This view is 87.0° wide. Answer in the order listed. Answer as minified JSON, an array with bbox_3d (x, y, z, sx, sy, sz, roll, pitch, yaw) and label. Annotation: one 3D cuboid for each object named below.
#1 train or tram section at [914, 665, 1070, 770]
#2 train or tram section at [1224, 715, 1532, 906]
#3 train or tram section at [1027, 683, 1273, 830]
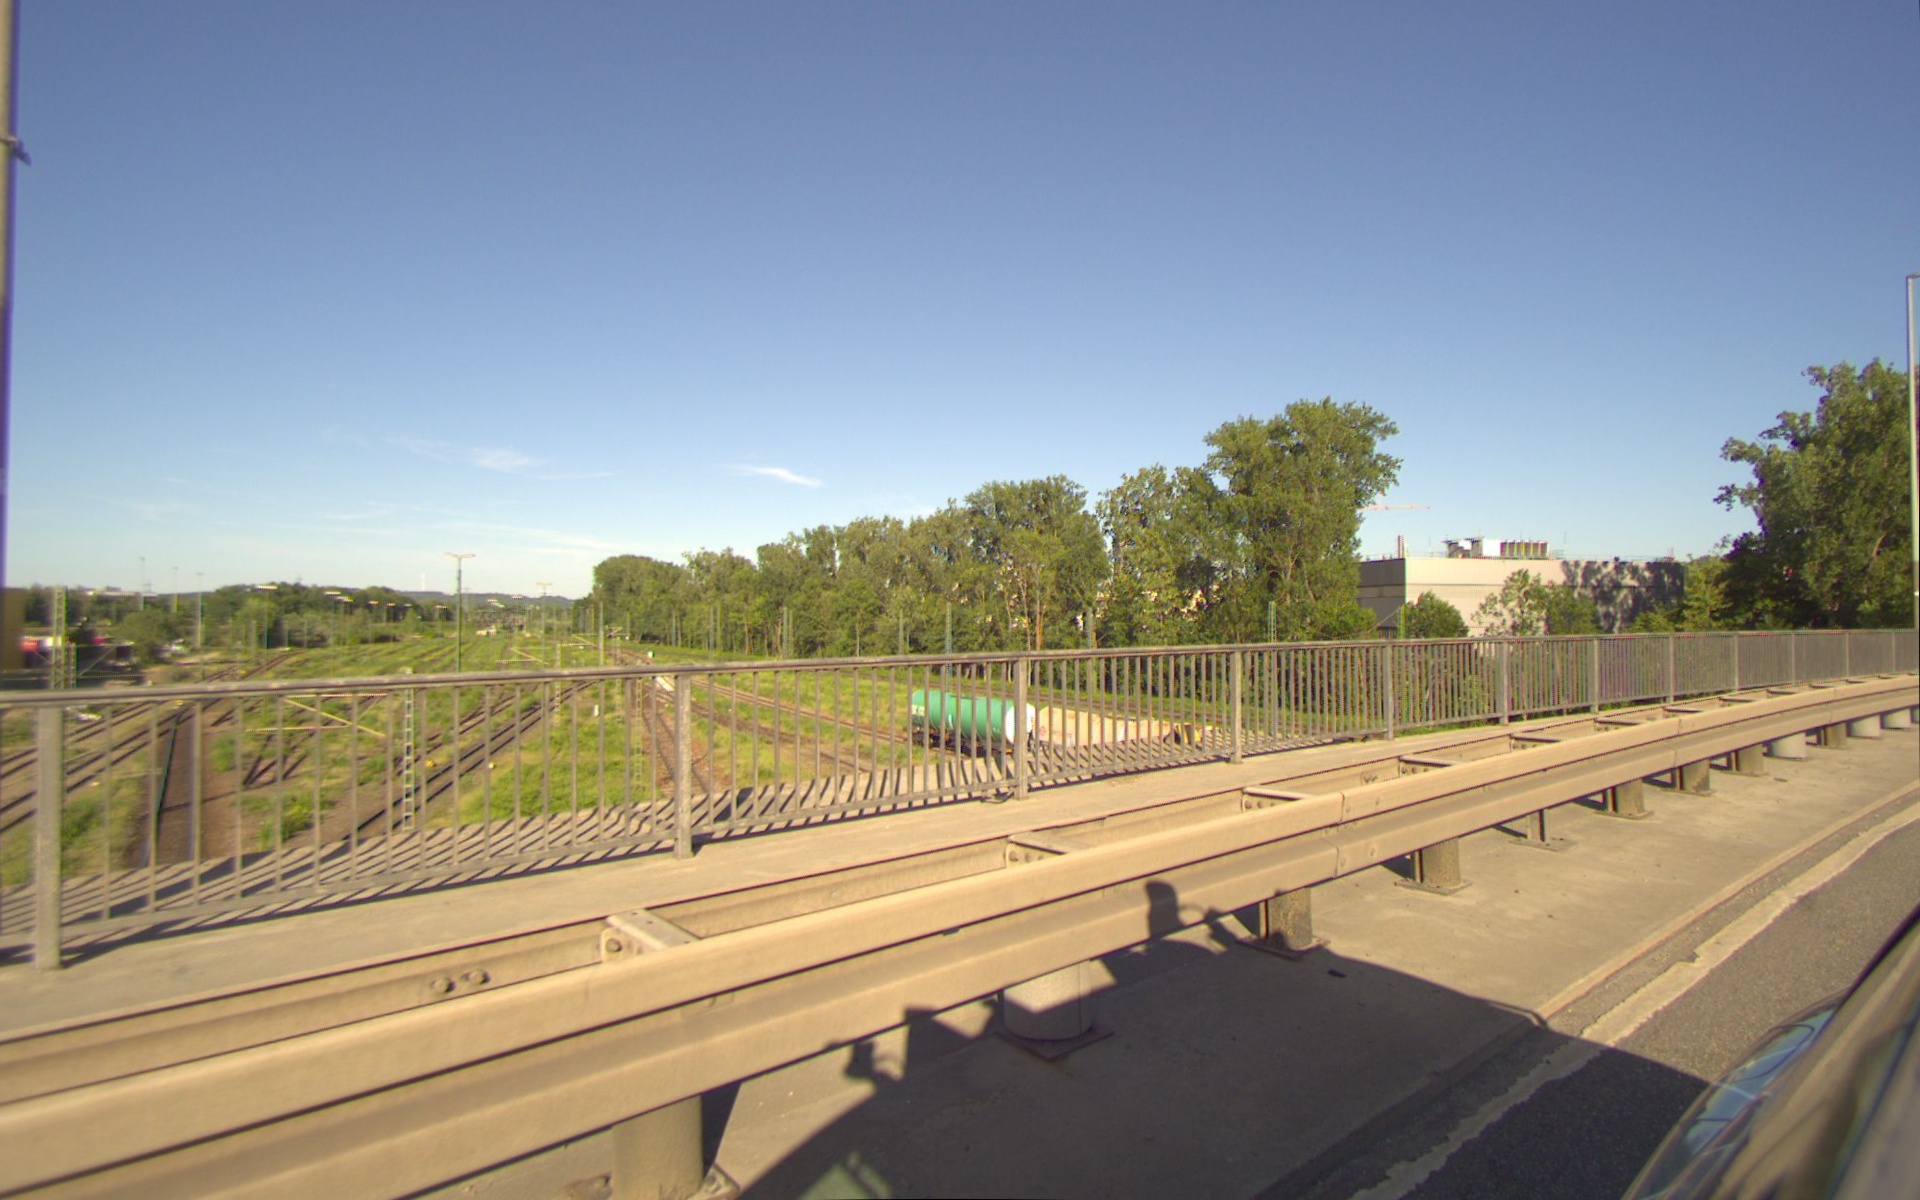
[{"bbox_3d":[1.814,7.874,71.190,3.270,5.248,15.196,1,1,-31],"label":"train or tram section"},{"bbox_3d":[17.600,8.641,44.417,3.270,5.330,13.099,1,1,-31],"label":"train or tram section"},{"bbox_3d":[9.979,8.282,57.323,3.270,5.327,16.900,1,1,-31],"label":"train or tram section"}]
